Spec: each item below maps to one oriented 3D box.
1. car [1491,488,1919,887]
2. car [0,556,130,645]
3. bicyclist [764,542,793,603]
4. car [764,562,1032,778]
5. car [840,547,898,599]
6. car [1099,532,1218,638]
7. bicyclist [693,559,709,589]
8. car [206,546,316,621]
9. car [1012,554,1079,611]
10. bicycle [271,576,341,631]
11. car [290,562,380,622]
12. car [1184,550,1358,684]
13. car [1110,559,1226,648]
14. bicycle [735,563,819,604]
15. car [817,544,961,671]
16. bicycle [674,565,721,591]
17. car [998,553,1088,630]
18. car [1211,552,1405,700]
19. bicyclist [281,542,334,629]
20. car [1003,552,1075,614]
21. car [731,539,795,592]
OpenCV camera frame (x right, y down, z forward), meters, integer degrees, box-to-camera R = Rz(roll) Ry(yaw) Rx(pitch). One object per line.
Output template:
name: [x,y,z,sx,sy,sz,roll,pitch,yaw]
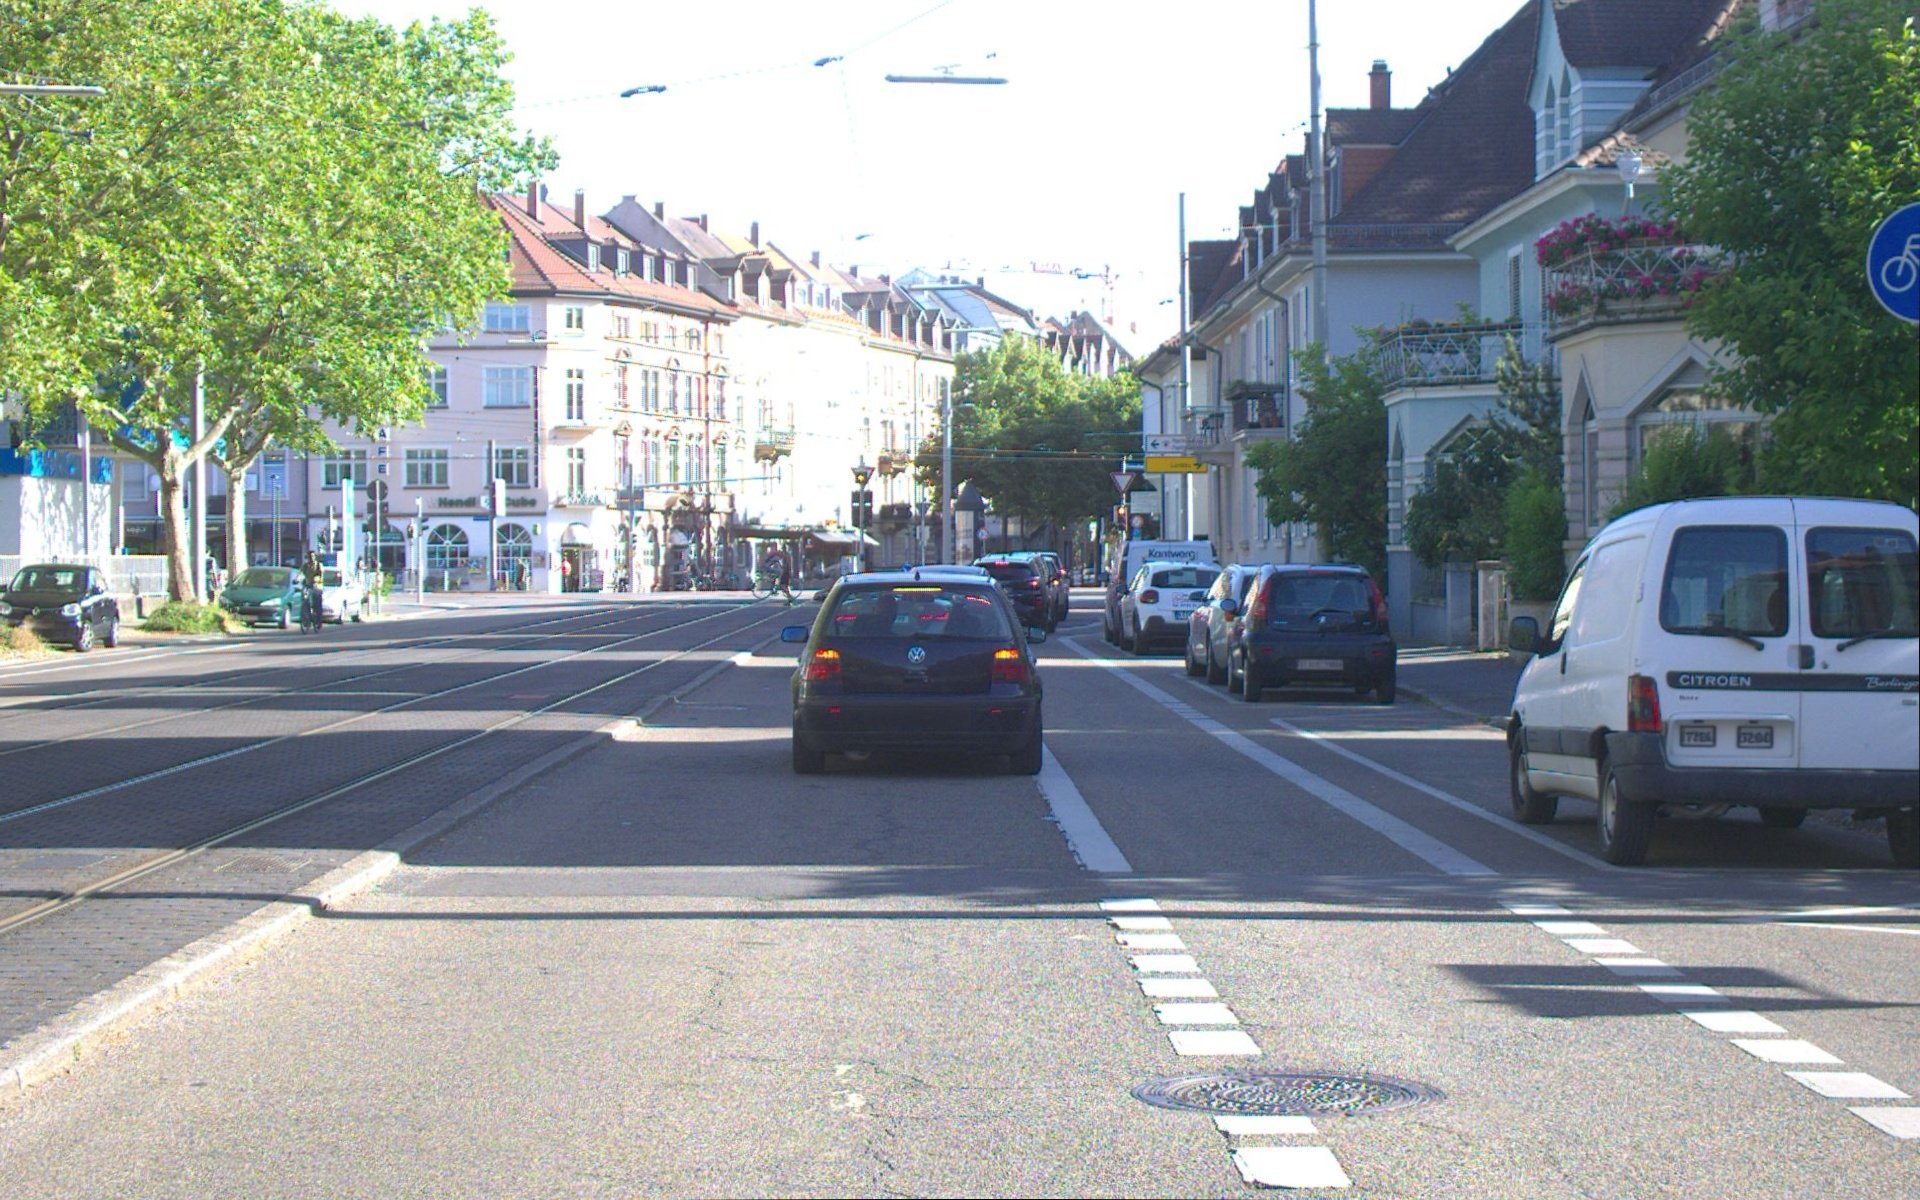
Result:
car: [3.962,0.378,17.888,1.759,1.831,3.548,2,1,-1]
car: [-16.312,-0.011,61.862,1.792,1.460,3.836,3,1,-1]
bicyclist: [-6.027,-0.919,114.015,0.876,2.002,0.706,2,1,-1]
car: [-0.476,0.437,24.585,1.748,1.370,4.001,0,1,-2]
car: [-2.649,-0.798,100.286,1.636,1.467,3.729,0,1,-1]
car: [3.447,-0.288,60.261,1.817,1.793,4.000,0,1,-1]
bicyclist: [-11.752,-1.170,156.056,0.682,1.332,0.922,2,1,-4]
car: [-16.562,-0.417,81.618,1.883,1.663,3.805,2,1,-2]
car: [2.267,-0.482,91.742,1.636,1.467,3.729,0,1,-1]
bicycle: [-14.039,0.057,73.918,0.914,1.079,3.203,2,1,-1]
car: [-15.949,-0.220,87.861,1.636,1.467,3.729,0,1,-1]
car: [3.749,0.168,42.021,1.748,1.532,3.955,0,1,0]
car: [3.299,0.031,55.118,1.580,1.370,4.000,0,1,-1]
bicycle: [-6.072,-0.549,114.028,2.742,1.258,0.706,2,1,-1]
car: [-0.876,0.061,44.125,1.748,1.532,3.892,0,1,0]
bicycle: [-11.918,-0.995,156.037,2.086,1.137,0.922,2,1,-4]
car: [1.617,-0.184,67.652,1.636,1.467,3.729,0,1,-1]
car: [3.757,0.239,37.648,1.661,1.520,4.036,0,1,-1]
bicyclist: [-14.023,-0.316,73.918,0.914,1.827,0.960,2,1,-1]
car: [1.909,-0.430,83.945,1.636,1.467,3.729,0,1,-1]
car: [-5.688,-1.008,99.735,1.636,1.467,3.729,2,1,-1]
